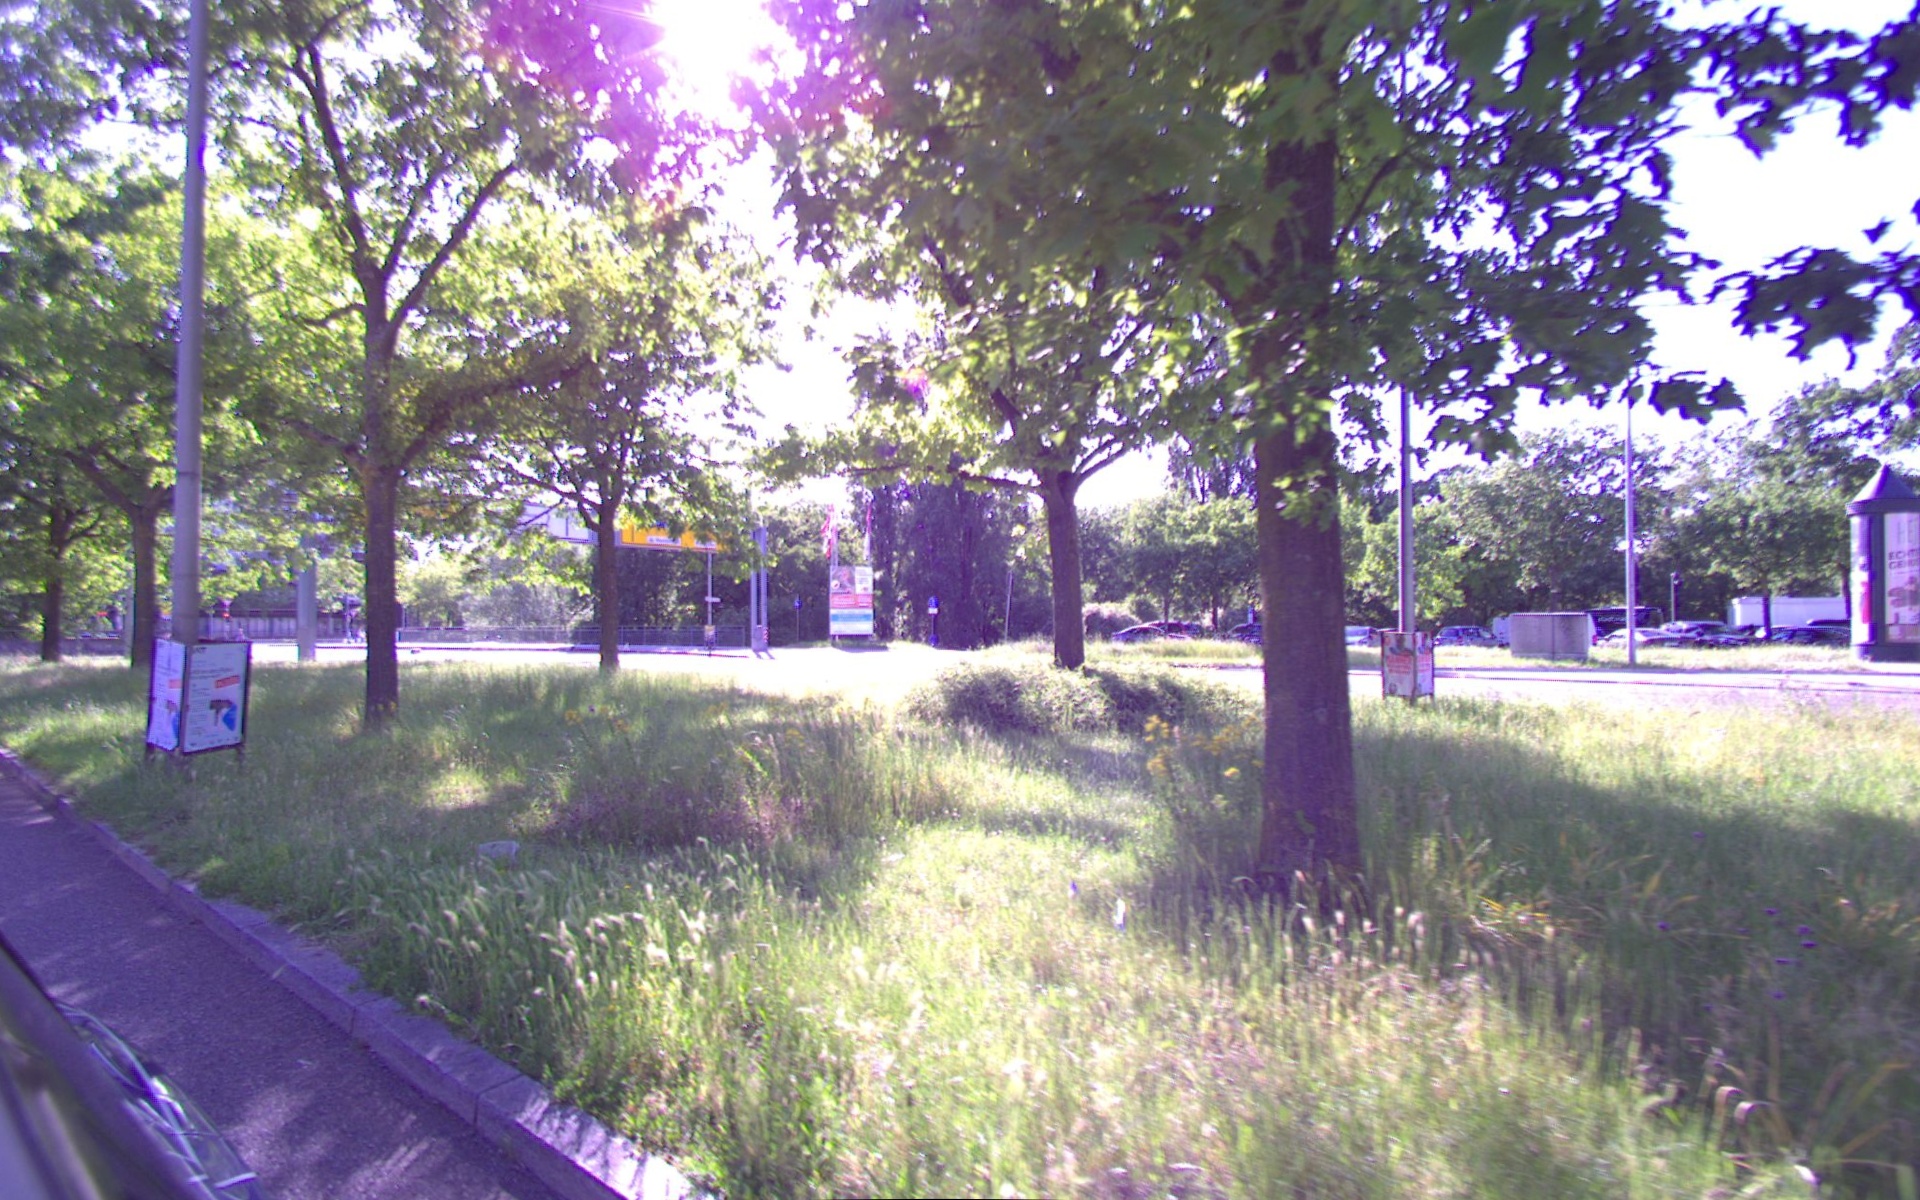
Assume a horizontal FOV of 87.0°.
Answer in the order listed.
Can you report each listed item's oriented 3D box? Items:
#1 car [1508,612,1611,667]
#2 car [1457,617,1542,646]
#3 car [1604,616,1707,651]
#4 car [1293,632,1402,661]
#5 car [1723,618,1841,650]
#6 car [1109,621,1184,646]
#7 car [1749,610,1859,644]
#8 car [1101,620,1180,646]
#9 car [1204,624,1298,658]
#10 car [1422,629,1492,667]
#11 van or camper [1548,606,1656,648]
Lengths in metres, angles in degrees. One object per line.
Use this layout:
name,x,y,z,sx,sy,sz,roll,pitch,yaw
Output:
car,23.853,1.536,40.487,2.218,2.029,4.976,-1,-1,15
car,32.159,1.870,60.414,1.969,1.521,4.004,1,-4,-42
car,26.773,1.269,39.130,1.981,1.292,3.981,-1,-1,14
car,16.378,1.938,42.821,3.989,1.137,1.801,-1,-2,34
car,38.315,1.567,47.291,3.984,1.425,1.754,-1,-1,30
car,11.661,2.105,63.299,4.508,1.475,1.993,-1,0,11
car,44.325,1.423,53.242,3.930,1.733,1.871,-1,-1,17
car,10.623,1.944,59.720,4.508,1.475,1.993,-1,0,11
car,13.248,1.834,46.246,1.791,1.459,4.012,0,-1,-30
car,25.551,2.425,51.977,3.823,1.618,1.658,-3,1,-37
van or camper,33.999,1.437,53.692,1.966,2.112,4.413,0,-2,-33
